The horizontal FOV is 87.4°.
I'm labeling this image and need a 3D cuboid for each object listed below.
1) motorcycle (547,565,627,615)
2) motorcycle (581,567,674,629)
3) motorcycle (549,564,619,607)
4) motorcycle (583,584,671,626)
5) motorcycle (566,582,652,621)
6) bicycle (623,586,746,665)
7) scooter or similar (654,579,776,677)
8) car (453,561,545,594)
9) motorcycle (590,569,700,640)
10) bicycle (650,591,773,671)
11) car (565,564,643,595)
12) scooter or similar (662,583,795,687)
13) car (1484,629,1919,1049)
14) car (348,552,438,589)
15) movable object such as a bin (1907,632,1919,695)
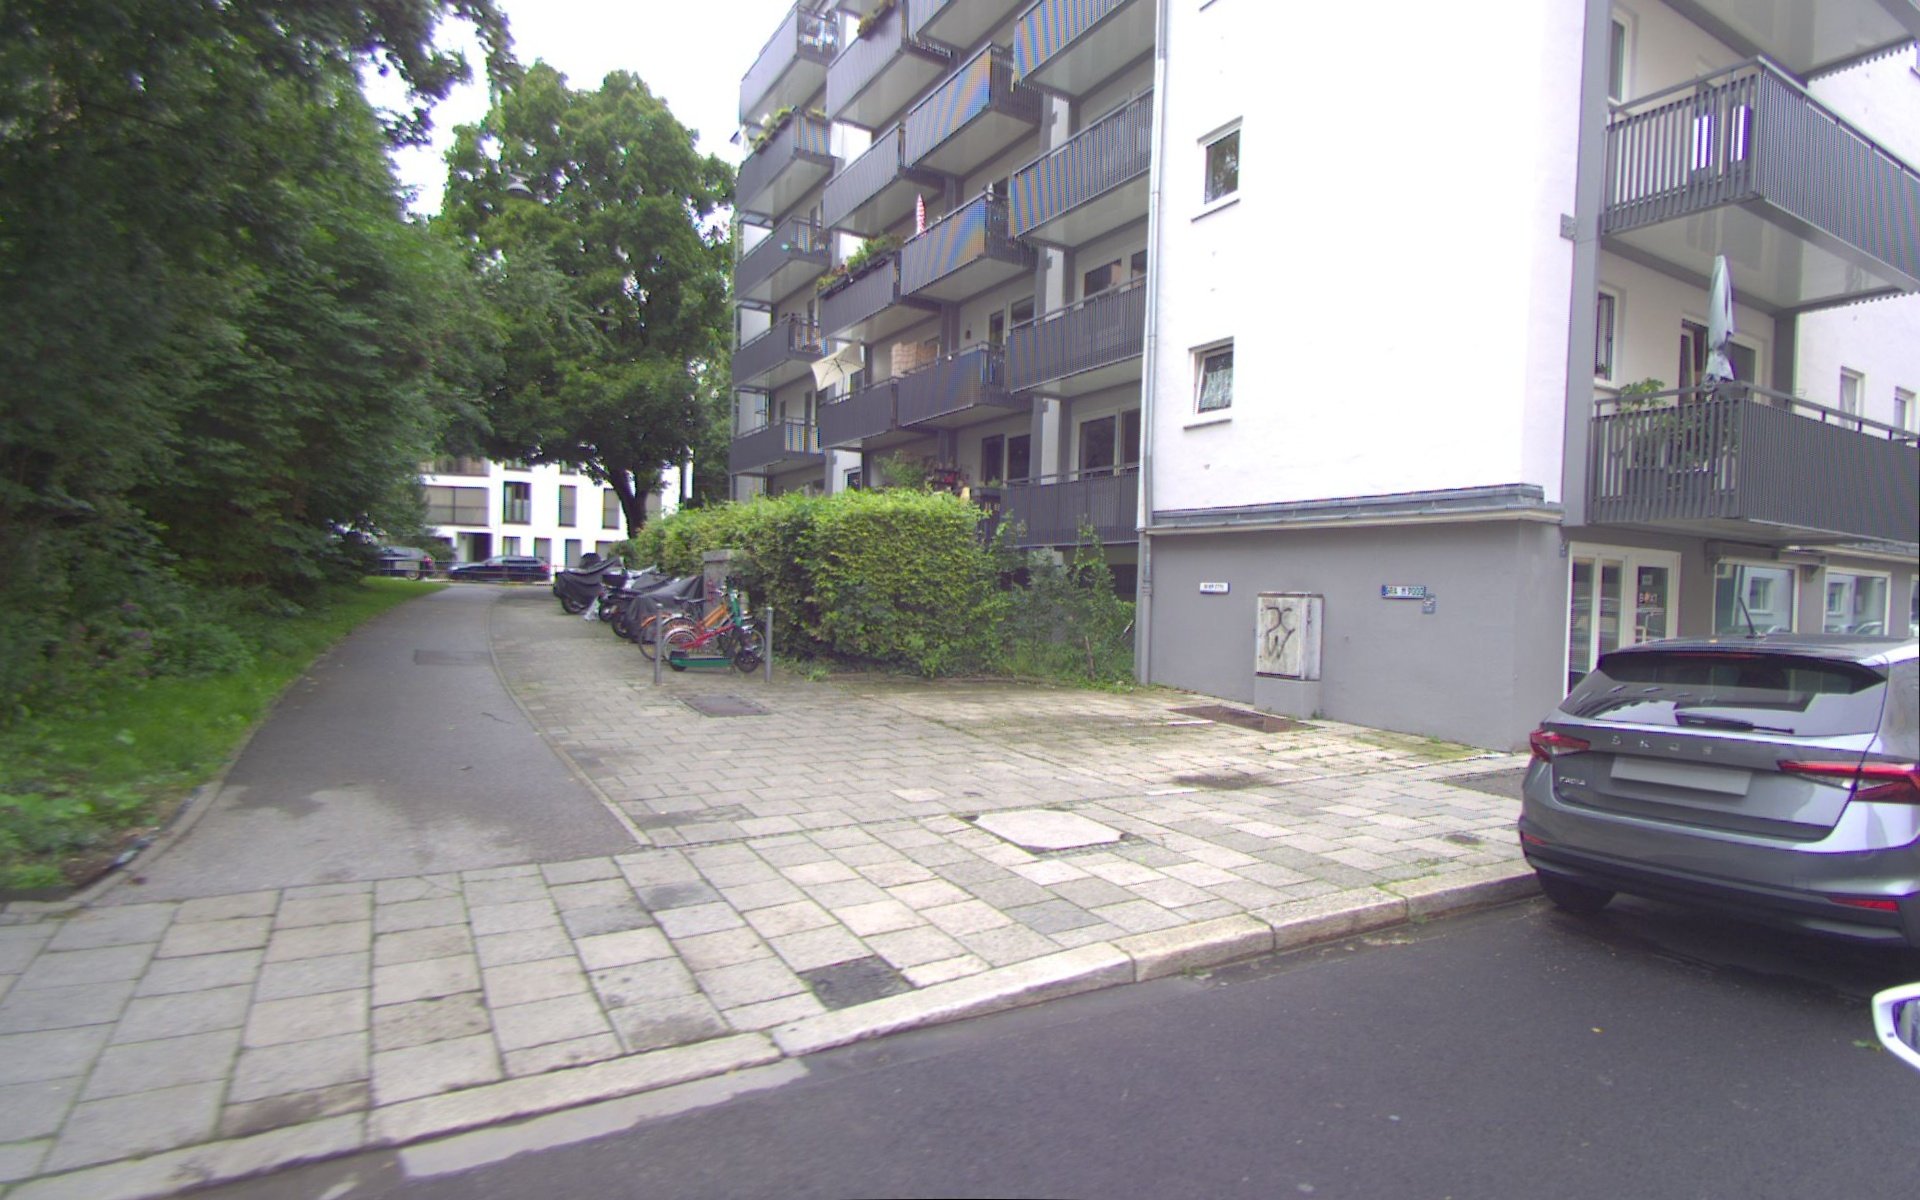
[{"bbox_3d":[-9.077,-0.259,24.507,0.535,1.161,1.810,2,3,40],"label":"motorcycle"},{"bbox_3d":[-6.838,-0.067,20.709,0.535,1.214,1.810,2,3,40],"label":"motorcycle"},{"bbox_3d":[-10.532,-0.428,28.186,0.535,1.161,1.810,2,3,40],"label":"motorcycle"},{"bbox_3d":[-7.221,0.095,21.858,0.535,0.848,1.810,2,3,40],"label":"motorcycle"},{"bbox_3d":[-7.880,0.017,22.624,0.535,0.848,1.810,2,3,40],"label":"motorcycle"},{"bbox_3d":[-3.873,0.351,14.166,1.590,1.053,0.511,1,1,-32],"label":"bicycle"},{"bbox_3d":[-3.216,0.369,13.245,1.517,1.261,0.345,1,1,-7],"label":"scooter or similar"},{"bbox_3d":[-23.587,-1.156,51.475,4.188,1.567,1.761,1,2,-26],"label":"car"},{"bbox_3d":[-5.574,0.059,17.807,1.797,1.214,0.539,-1,2,-30],"label":"motorcycle"},{"bbox_3d":[-3.428,0.416,13.912,1.590,1.053,0.421,1,1,-32],"label":"bicycle"},{"bbox_3d":[-19.101,-1.086,53.901,3.760,1.567,1.761,1,2,-26],"label":"car"},{"bbox_3d":[-2.819,0.421,12.308,1.553,1.219,0.319,1,1,-32],"label":"scooter or similar"},{"bbox_3d":[4.733,0.916,5.300,3.896,1.461,1.685,1,0,-30],"label":"car"},{"bbox_3d":[-27.999,-1.465,49.698,3.760,1.729,1.761,1,2,-26],"label":"car"},{"bbox_3d":[21.193,1.361,21.457,0.980,1.354,1.153,1,-2,-27],"label":"movable object such as a bin"}]
